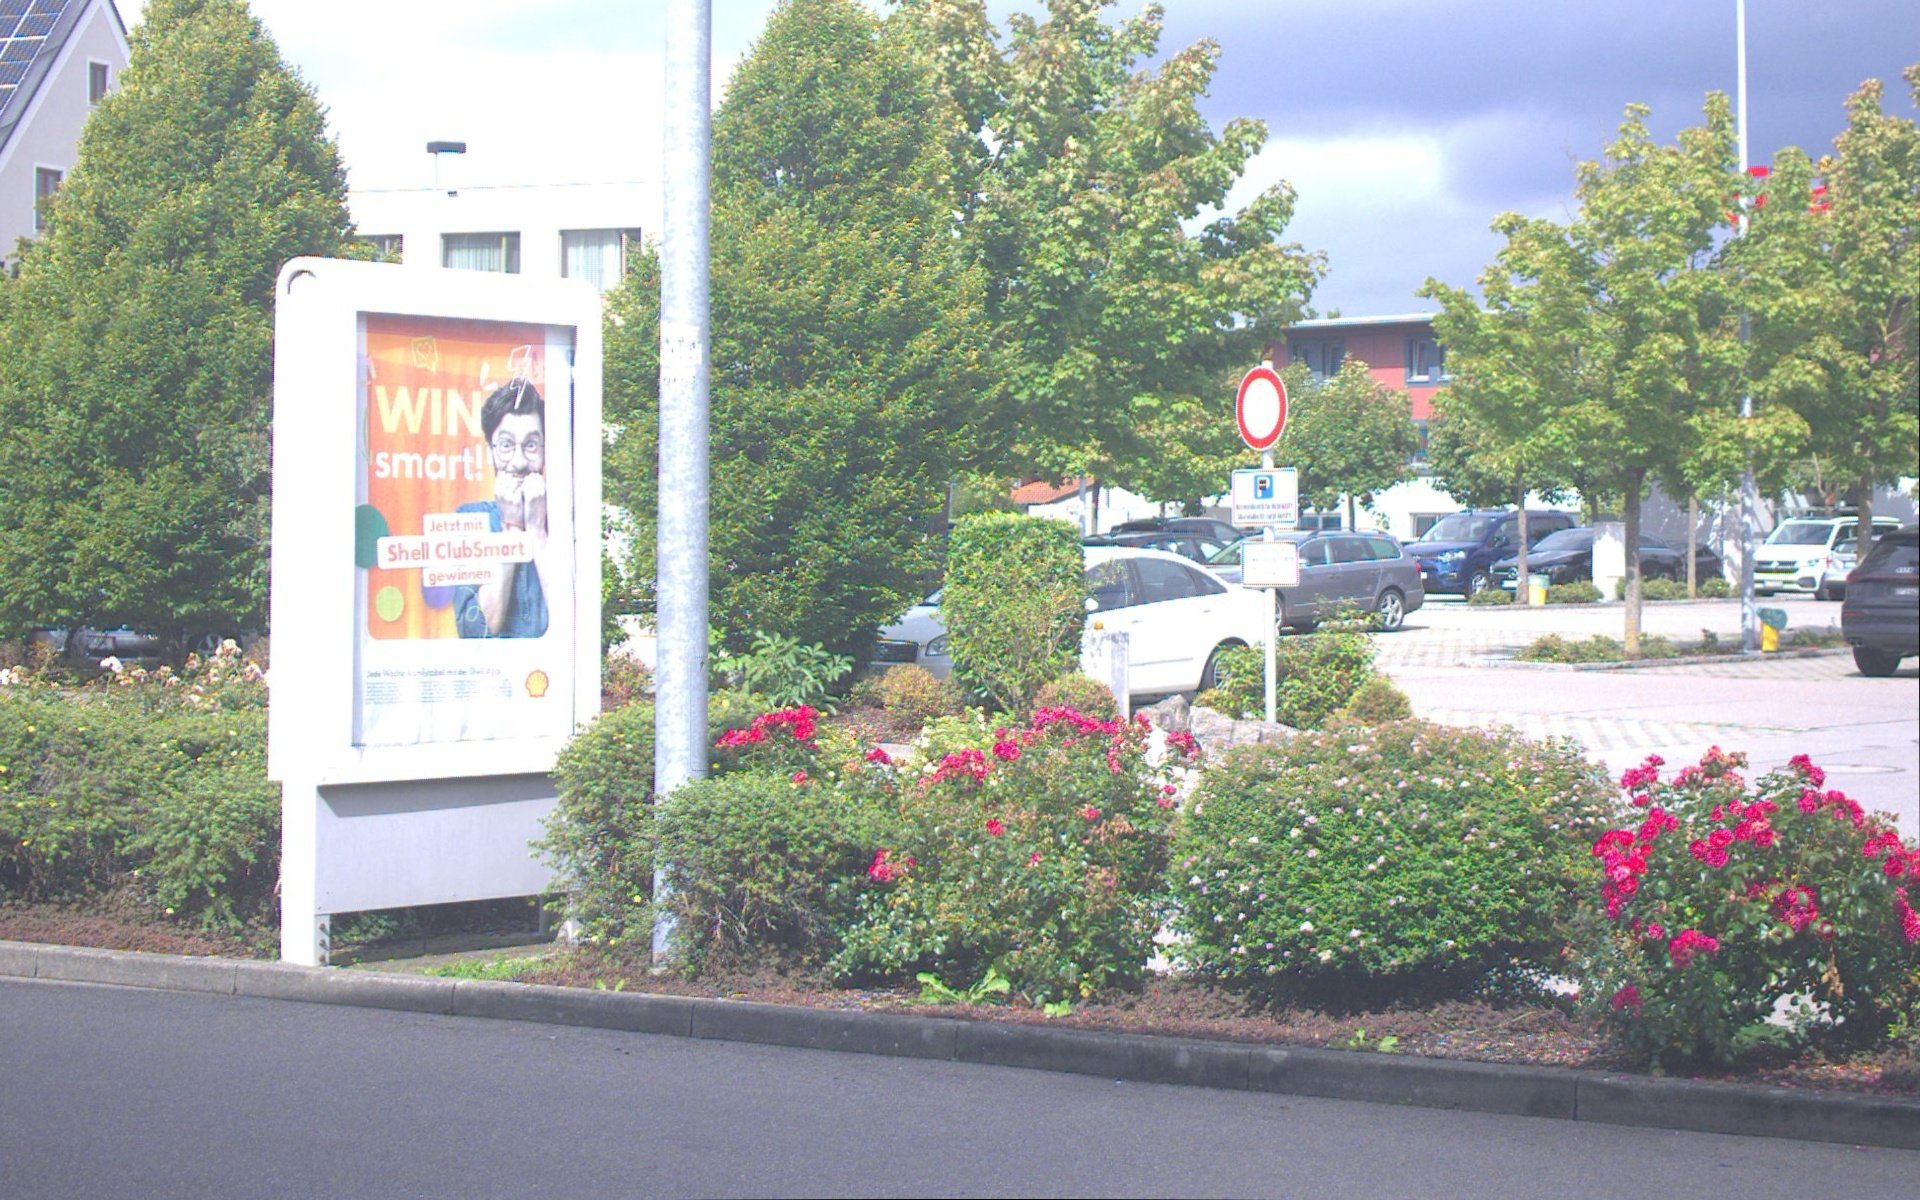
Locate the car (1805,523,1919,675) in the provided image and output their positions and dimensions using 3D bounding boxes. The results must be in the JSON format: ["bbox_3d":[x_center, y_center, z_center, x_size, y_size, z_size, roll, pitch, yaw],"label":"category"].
[{"bbox_3d":[11.122,-0.004,36.729,4.491,1.543,1.885,0,1,-43],"label":"car"}]

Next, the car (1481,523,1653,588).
[{"bbox_3d":[11.498,-0.834,65.035,3.409,1.174,1.485,0,1,-44],"label":"car"}]

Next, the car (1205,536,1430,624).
[{"bbox_3d":[5.188,-0.285,49.714,3.218,1.224,1.505,0,1,-44],"label":"car"}]

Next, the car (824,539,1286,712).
[{"bbox_3d":[0.895,0.206,29.924,4.332,1.399,1.370,0,1,-44],"label":"car"}]

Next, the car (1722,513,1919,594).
[{"bbox_3d":[20.227,-1.079,80.643,4.864,1.827,2.184,0,1,-43],"label":"car"}]

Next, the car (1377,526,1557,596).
[{"bbox_3d":[9.869,-0.753,66.782,3.379,1.316,1.747,0,1,-44],"label":"car"}]
